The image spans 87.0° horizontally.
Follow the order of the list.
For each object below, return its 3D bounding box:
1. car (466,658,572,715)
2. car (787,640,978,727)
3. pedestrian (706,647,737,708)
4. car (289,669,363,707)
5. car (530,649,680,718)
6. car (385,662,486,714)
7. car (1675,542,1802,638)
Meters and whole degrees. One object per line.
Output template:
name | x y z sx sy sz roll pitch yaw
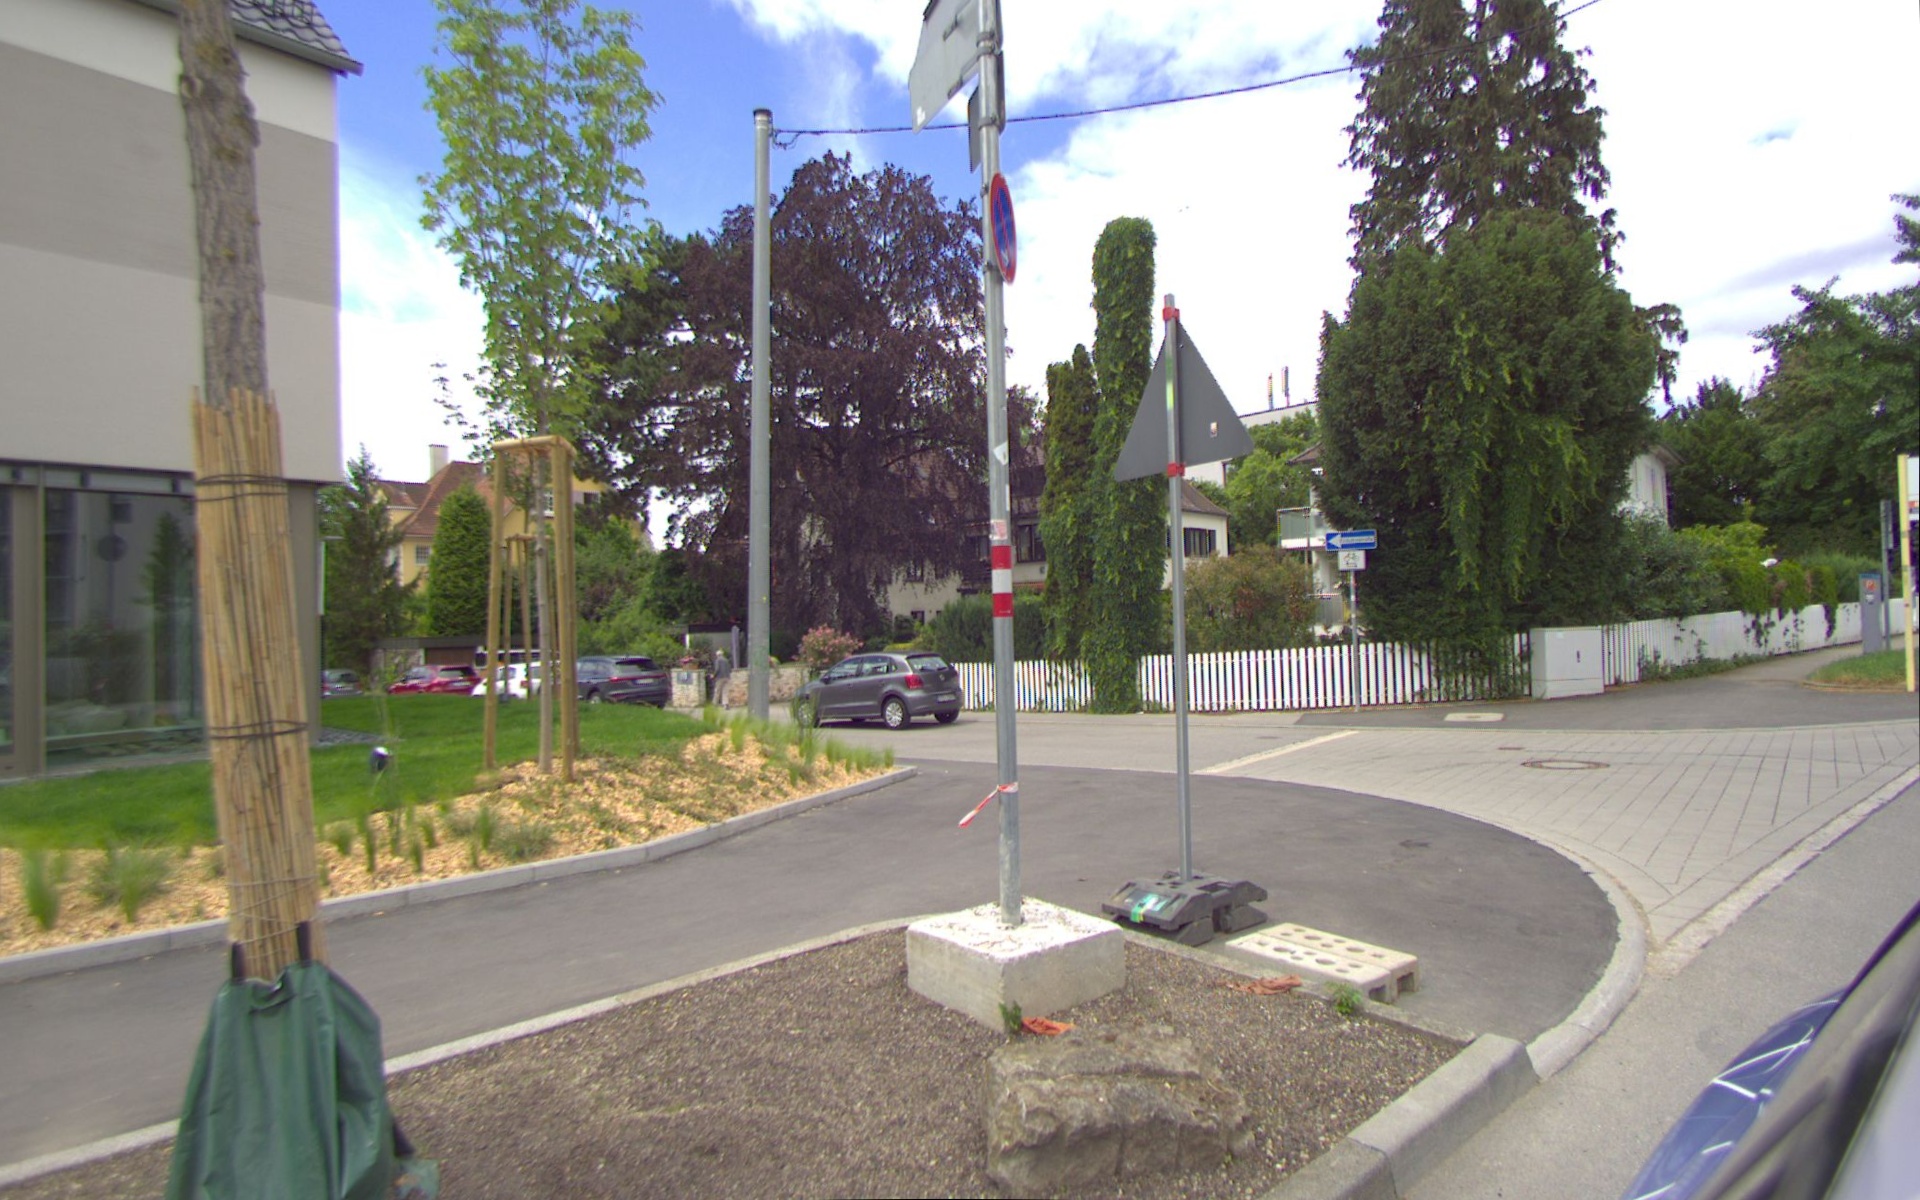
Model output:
car | -13.523 2.644 30.967 3.328 1.564 1.638 -5 -3 40
car | -1.569 1.635 19.926 3.515 1.477 1.690 -5 -3 40
pedestrian | -6.370 2.064 26.991 0.566 1.568 0.544 -2 -3 -38
car | -27.007 3.750 43.080 3.441 1.469 1.638 -5 -3 40
car | -9.708 2.272 27.513 4.322 1.628 1.861 -5 -3 40
car | -17.713 2.967 34.118 3.875 1.564 1.638 -5 -3 40
car | 24.858 -0.318 32.248 2.496 2.716 5.105 -5 -3 44
